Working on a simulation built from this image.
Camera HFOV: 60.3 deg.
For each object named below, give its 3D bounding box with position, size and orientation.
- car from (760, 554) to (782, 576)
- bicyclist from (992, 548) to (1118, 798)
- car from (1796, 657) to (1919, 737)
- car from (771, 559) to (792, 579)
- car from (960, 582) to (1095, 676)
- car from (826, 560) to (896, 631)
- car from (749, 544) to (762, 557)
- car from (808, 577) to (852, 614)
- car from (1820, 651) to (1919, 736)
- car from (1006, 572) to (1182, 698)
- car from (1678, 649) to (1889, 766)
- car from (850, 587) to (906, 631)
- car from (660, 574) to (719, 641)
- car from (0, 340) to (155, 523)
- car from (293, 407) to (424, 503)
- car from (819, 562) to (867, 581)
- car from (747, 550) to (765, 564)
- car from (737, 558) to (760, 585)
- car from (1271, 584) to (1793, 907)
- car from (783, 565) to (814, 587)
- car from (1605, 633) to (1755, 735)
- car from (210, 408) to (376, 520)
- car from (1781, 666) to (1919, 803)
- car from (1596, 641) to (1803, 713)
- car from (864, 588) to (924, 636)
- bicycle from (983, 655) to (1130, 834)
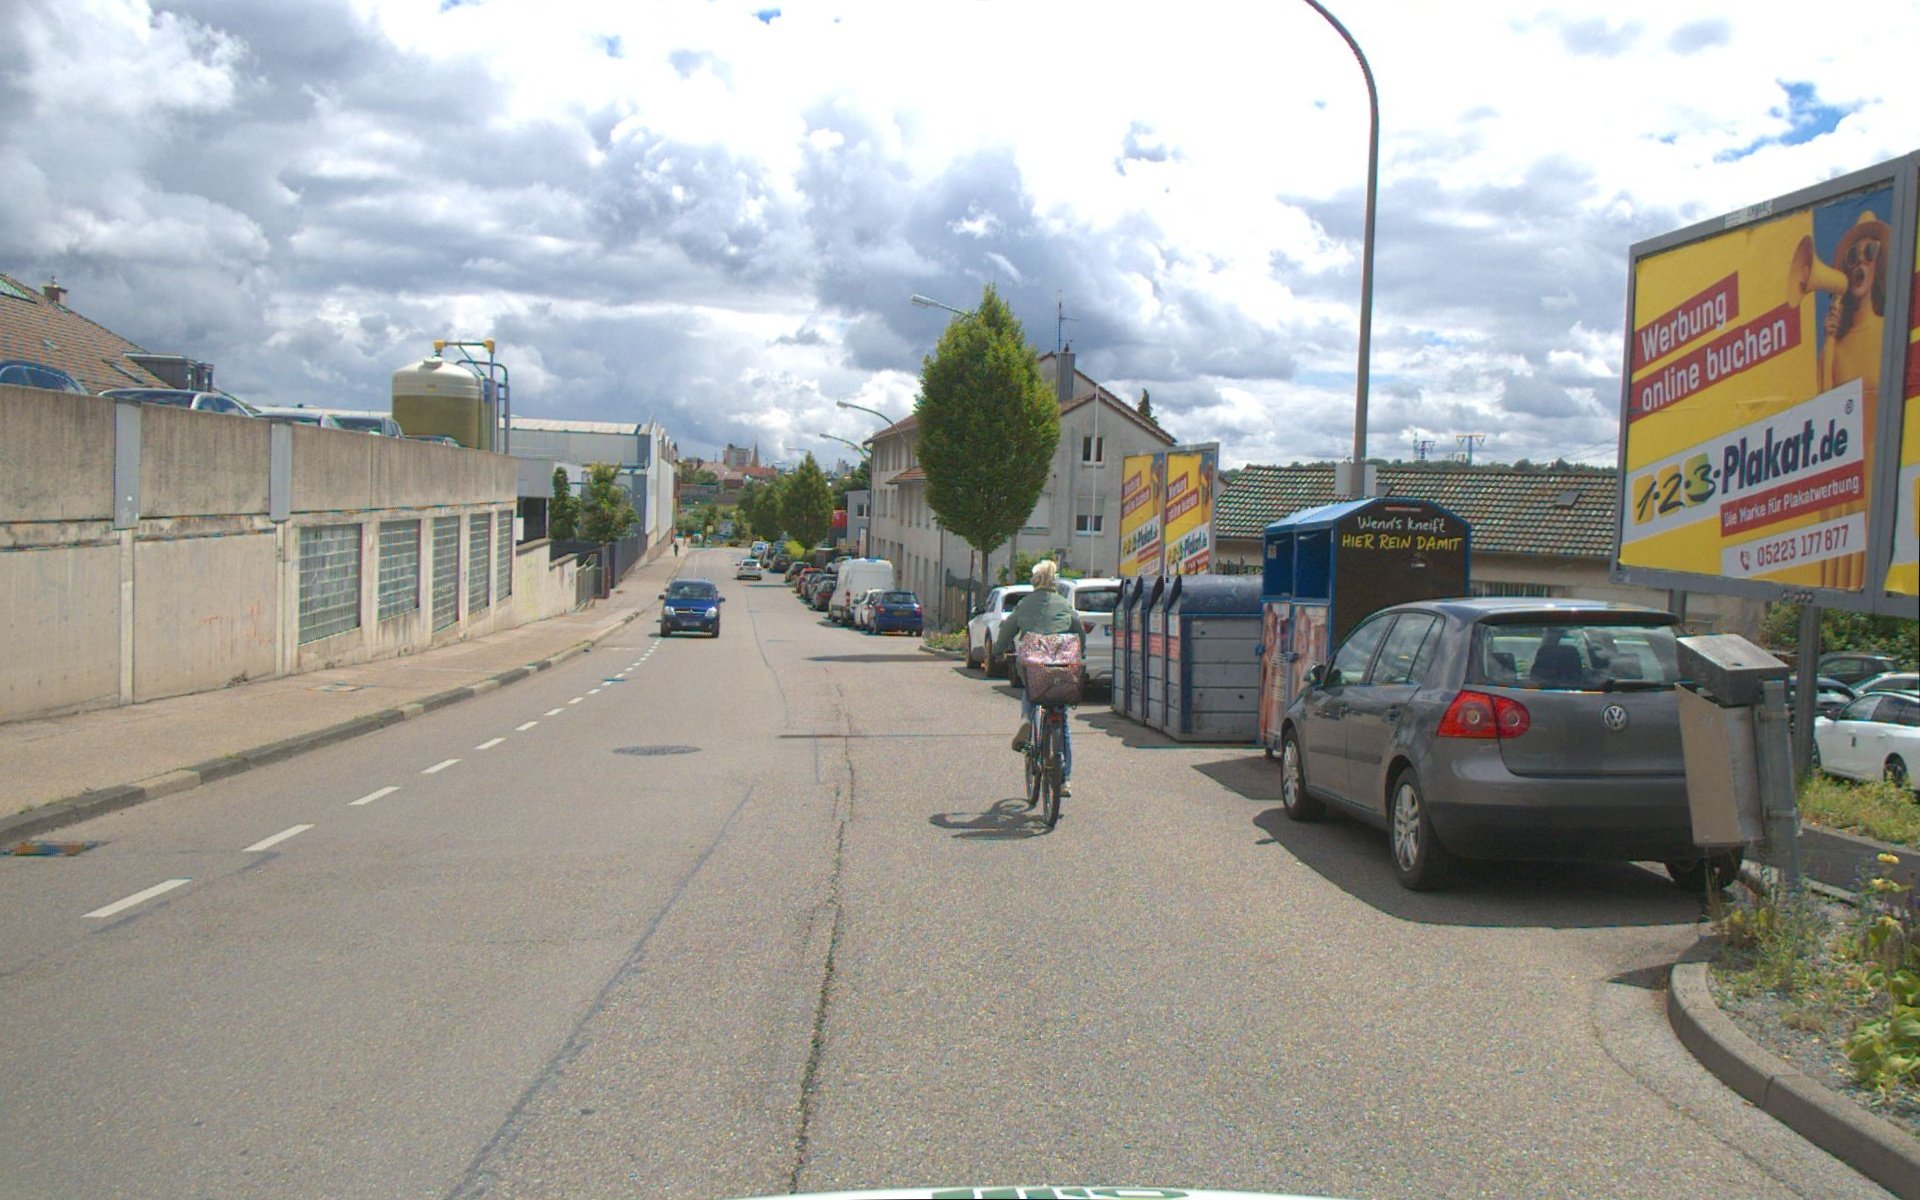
[{"bbox_3d":[-18.075,-3.328,157.948,1.835,2.024,5.134,1,2,-9],"label":"car"},{"bbox_3d":[0.642,0.487,11.393,0.725,1.655,0.730,1,0,-6],"label":"bicyclist"},{"bbox_3d":[18.484,1.861,31.787,4.087,1.414,1.791,0,0,19],"label":"car"},{"bbox_3d":[-15.489,-2.687,143.368,1.647,1.666,4.117,2,2,-7],"label":"car"},{"bbox_3d":[1.151,0.486,30.376,1.807,1.592,4.459,0,0,-7],"label":"car"},{"bbox_3d":[-4.114,-0.178,67.455,1.996,2.687,7.265,1,0,-10],"label":"car"},{"bbox_3d":[-26.207,-6.339,212.133,1.669,1.554,3.733,2,2,-7],"label":"car"},{"bbox_3d":[-6.615,-0.238,83.540,1.673,1.536,5.077,3,2,-10],"label":"car"},{"bbox_3d":[17.612,1.662,29.432,3.906,1.414,1.597,0,0,20],"label":"car"},{"bbox_3d":[1.867,0.467,24.444,1.654,1.688,4.472,1,0,-8],"label":"car"},{"bbox_3d":[13.621,1.717,27.658,1.773,1.650,4.466,0,0,7],"label":"car"},{"bbox_3d":[-3.076,0.329,61.392,1.564,1.536,3.781,1,0,-10],"label":"car"},{"bbox_3d":[-7.887,0.204,47.986,1.597,1.849,3.770,0,0,-11],"label":"car"},{"bbox_3d":[-10.689,-1.803,18.490,1.772,1.665,4.098,1,0,-7],"label":"car"},{"bbox_3d":[-12.963,-3.087,35.897,1.772,1.665,4.098,1,0,-7],"label":"car"},{"bbox_3d":[-9.730,-2.391,137.732,4.004,1.488,1.715,1,3,43],"label":"car"},{"bbox_3d":[-24.854,-5.268,201.502,1.672,1.554,3.727,4,1,-13],"label":"car"},{"bbox_3d":[-15.272,-2.043,119.453,1.538,1.817,3.598,1,0,-9],"label":"car"},{"bbox_3d":[3.082,0.678,9.822,1.622,1.511,4.043,0,0,-1],"label":"car"},{"bbox_3d":[-11.441,-1.711,116.978,1.759,1.491,4.697,1,1,-10],"label":"car"},{"bbox_3d":[14.254,1.601,32.982,1.712,1.714,4.684,0,1,10],"label":"car"},{"bbox_3d":[-12.056,-2.412,30.158,1.772,1.665,4.098,1,0,-7],"label":"car"},{"bbox_3d":[13.207,1.783,22.962,1.714,1.544,4.585,0,0,6],"label":"car"},{"bbox_3d":[15.989,1.633,35.800,3.956,1.414,1.521,0,0,31],"label":"car"},{"bbox_3d":[-2.279,0.398,56.541,1.538,1.536,4.085,1,0,-9],"label":"car"},{"bbox_3d":[0.626,0.951,11.373,0.726,0.992,1.731,2,2,-6],"label":"bicycle"}]
